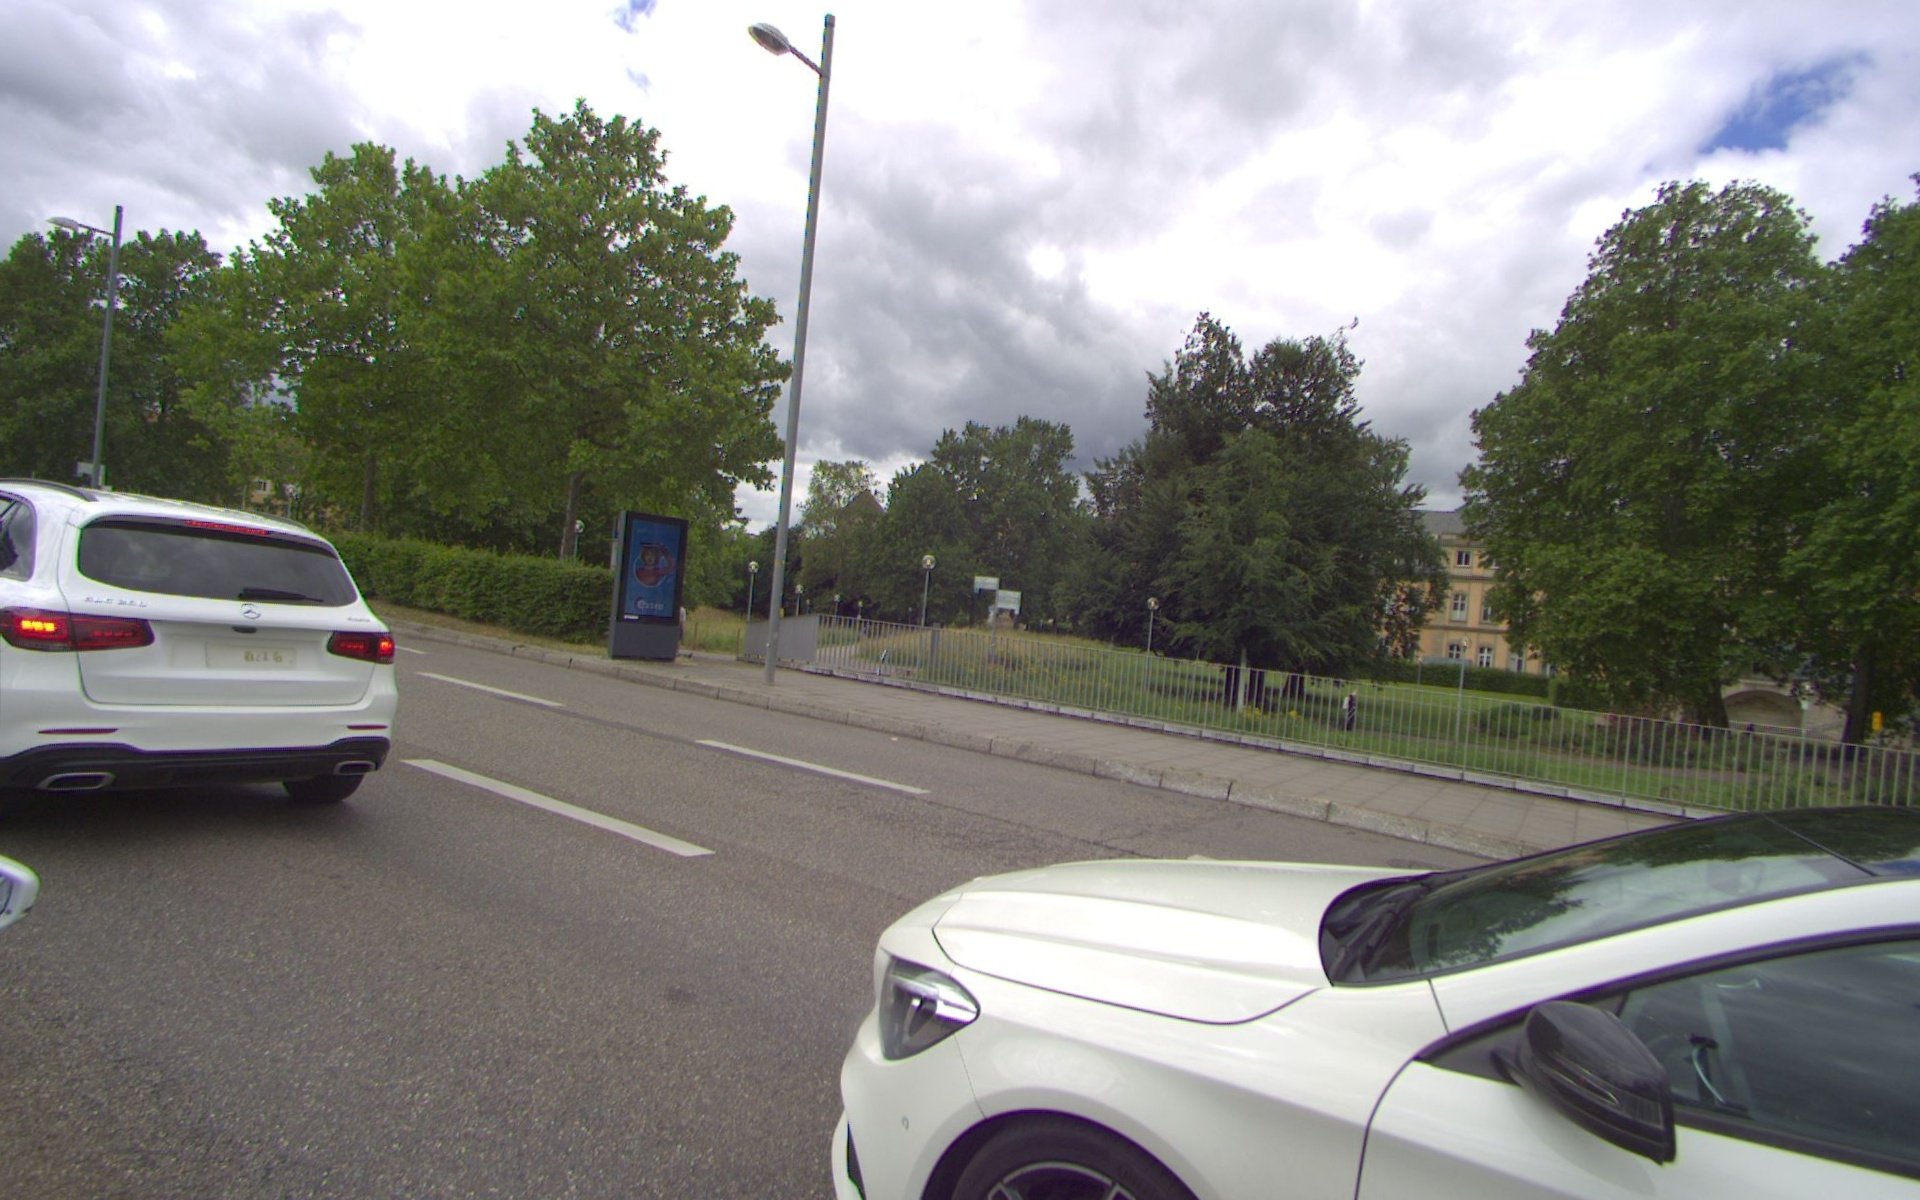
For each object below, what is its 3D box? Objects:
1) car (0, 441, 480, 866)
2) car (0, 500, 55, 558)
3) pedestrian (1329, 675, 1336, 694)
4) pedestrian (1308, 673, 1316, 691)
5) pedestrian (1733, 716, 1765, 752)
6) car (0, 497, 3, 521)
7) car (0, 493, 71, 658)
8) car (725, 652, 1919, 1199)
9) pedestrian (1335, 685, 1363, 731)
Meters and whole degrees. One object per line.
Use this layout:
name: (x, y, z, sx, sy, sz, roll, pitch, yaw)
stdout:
car: (-5.083, 0.100, 5.927, 4.417, 1.673, 1.929, 6, -1, 33)
car: (-28.779, -2.212, 29.865, 4.459, 1.476, 1.932, 5, -3, 37)
pedestrian: (35.839, 8.129, 96.774, 0.460, 1.725, 0.405, 5, -2, 32)
pedestrian: (34.067, 7.940, 97.445, 0.399, 1.756, 0.467, 7, -2, -11)
pedestrian: (48.265, 8.205, 61.557, 0.925, 2.036, 1.106, 7, -2, -1)
car: (-23.298, -1.715, 22.367, 4.236, 1.659, 1.995, 7, -1, 35)
car: (-11.349, -0.465, 10.473, 4.417, 1.569, 1.929, 6, -2, 33)
car: (1.848, 1.087, 1.840, 4.454, 1.436, 1.796, 5, -2, 33)
pedestrian: (14.426, 4.001, 37.306, 0.645, 1.619, 0.684, 6, -2, 0)
